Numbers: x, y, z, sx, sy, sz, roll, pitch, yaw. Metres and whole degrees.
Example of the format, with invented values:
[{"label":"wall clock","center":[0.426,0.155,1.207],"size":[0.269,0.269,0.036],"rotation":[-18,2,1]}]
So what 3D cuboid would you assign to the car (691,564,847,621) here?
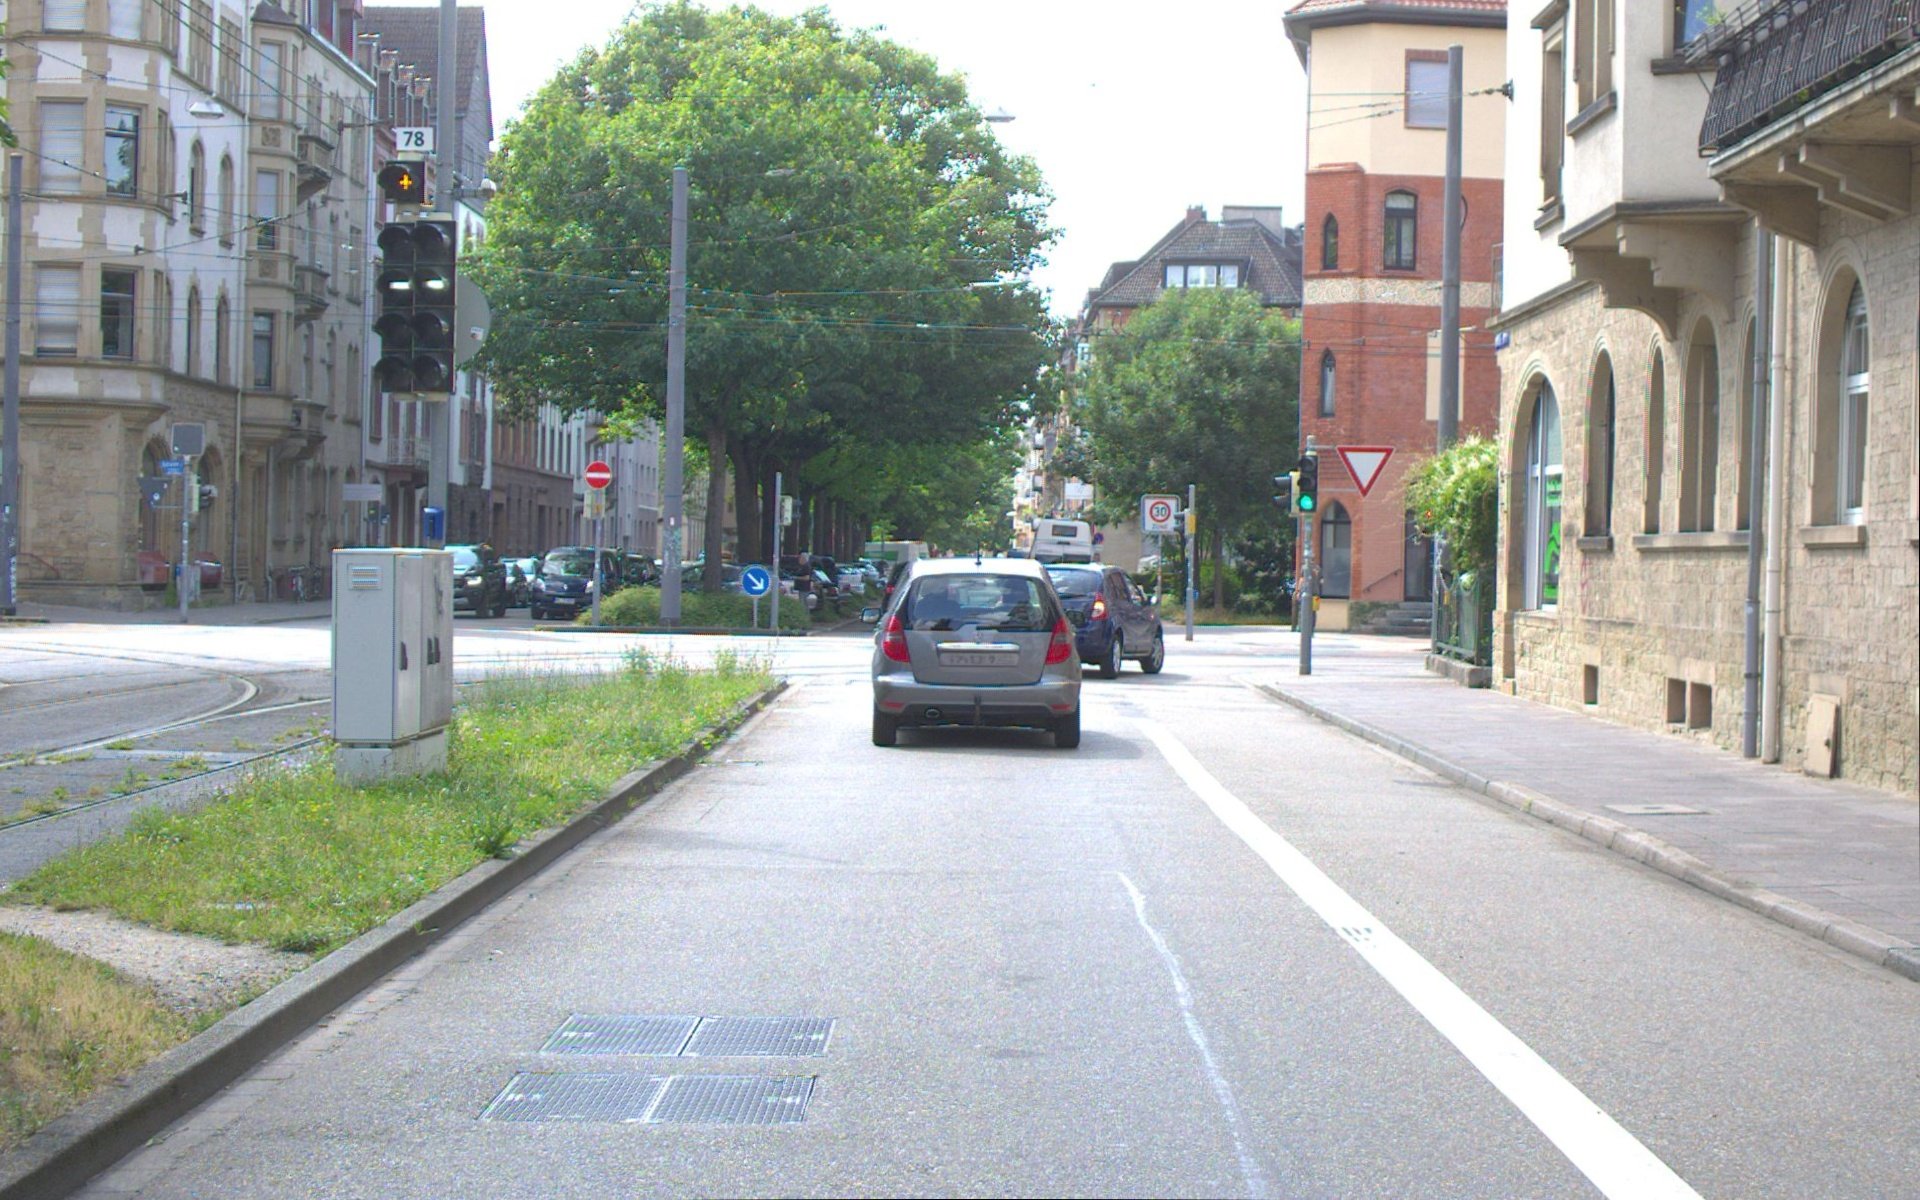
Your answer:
[{"label":"car","center":[-4.844,-0.198,86.878],"size":[1.968,1.334,3.999],"rotation":[1,1,-38]}]

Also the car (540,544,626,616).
[{"label":"car","center":[-9.364,-0.509,85.690],"size":[1.993,1.722,4.001],"rotation":[1,0,-5]}]

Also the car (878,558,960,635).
[{"label":"car","center":[-0.923,-0.091,78.706],"size":[1.722,1.700,3.677],"rotation":[1,0,1]}]

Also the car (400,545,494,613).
[{"label":"car","center":[-12.542,-0.515,84.267],"size":[1.993,1.612,4.001],"rotation":[1,0,-5]}]

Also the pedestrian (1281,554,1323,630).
[{"label":"pedestrian","center":[7.597,-0.183,76.412],"size":[0.869,1.651,0.736],"rotation":[1,1,5]}]

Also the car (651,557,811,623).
[{"label":"car","center":[-5.643,-0.259,84.276],"size":[1.968,1.489,3.999],"rotation":[1,1,-38]}]

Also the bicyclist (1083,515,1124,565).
[{"label":"bicyclist","center":[3.168,-1.316,75.898],"size":[0.836,1.078,1.400],"rotation":[1,0,4]}]

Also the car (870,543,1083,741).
[{"label":"car","center":[0.180,0.326,29.938],"size":[1.722,1.600,3.677],"rotation":[1,0,1]}]

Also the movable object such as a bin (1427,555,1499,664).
[{"label":"movable object such as a bin","center":[6.892,0.126,47.142],"size":[0.714,1.467,0.983],"rotation":[1,0,-8]}]

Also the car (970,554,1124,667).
[{"label":"car","center":[1.183,0.114,47.219],"size":[1.980,1.437,4.000],"rotation":[1,1,1]}]

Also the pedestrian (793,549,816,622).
[{"label":"pedestrian","center":[-3.712,-0.344,82.055],"size":[0.493,1.719,0.654],"rotation":[1,0,-1]}]

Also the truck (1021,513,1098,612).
[{"label":"truck","center":[3.069,-1.145,104.980],"size":[2.123,2.960,3.999],"rotation":[1,0,4]}]

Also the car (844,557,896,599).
[{"label":"car","center":[-3.385,-0.851,129.350],"size":[1.752,1.512,3.499],"rotation":[1,1,1]}]

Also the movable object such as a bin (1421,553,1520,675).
[{"label":"movable object such as a bin","center":[6.638,0.169,44.790],"size":[1.050,1.534,2.100],"rotation":[1,0,3]}]

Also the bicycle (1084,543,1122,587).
[{"label":"bicycle","center":[3.170,-0.770,75.948],"size":[0.749,0.955,2.298],"rotation":[1,0,4]}]
